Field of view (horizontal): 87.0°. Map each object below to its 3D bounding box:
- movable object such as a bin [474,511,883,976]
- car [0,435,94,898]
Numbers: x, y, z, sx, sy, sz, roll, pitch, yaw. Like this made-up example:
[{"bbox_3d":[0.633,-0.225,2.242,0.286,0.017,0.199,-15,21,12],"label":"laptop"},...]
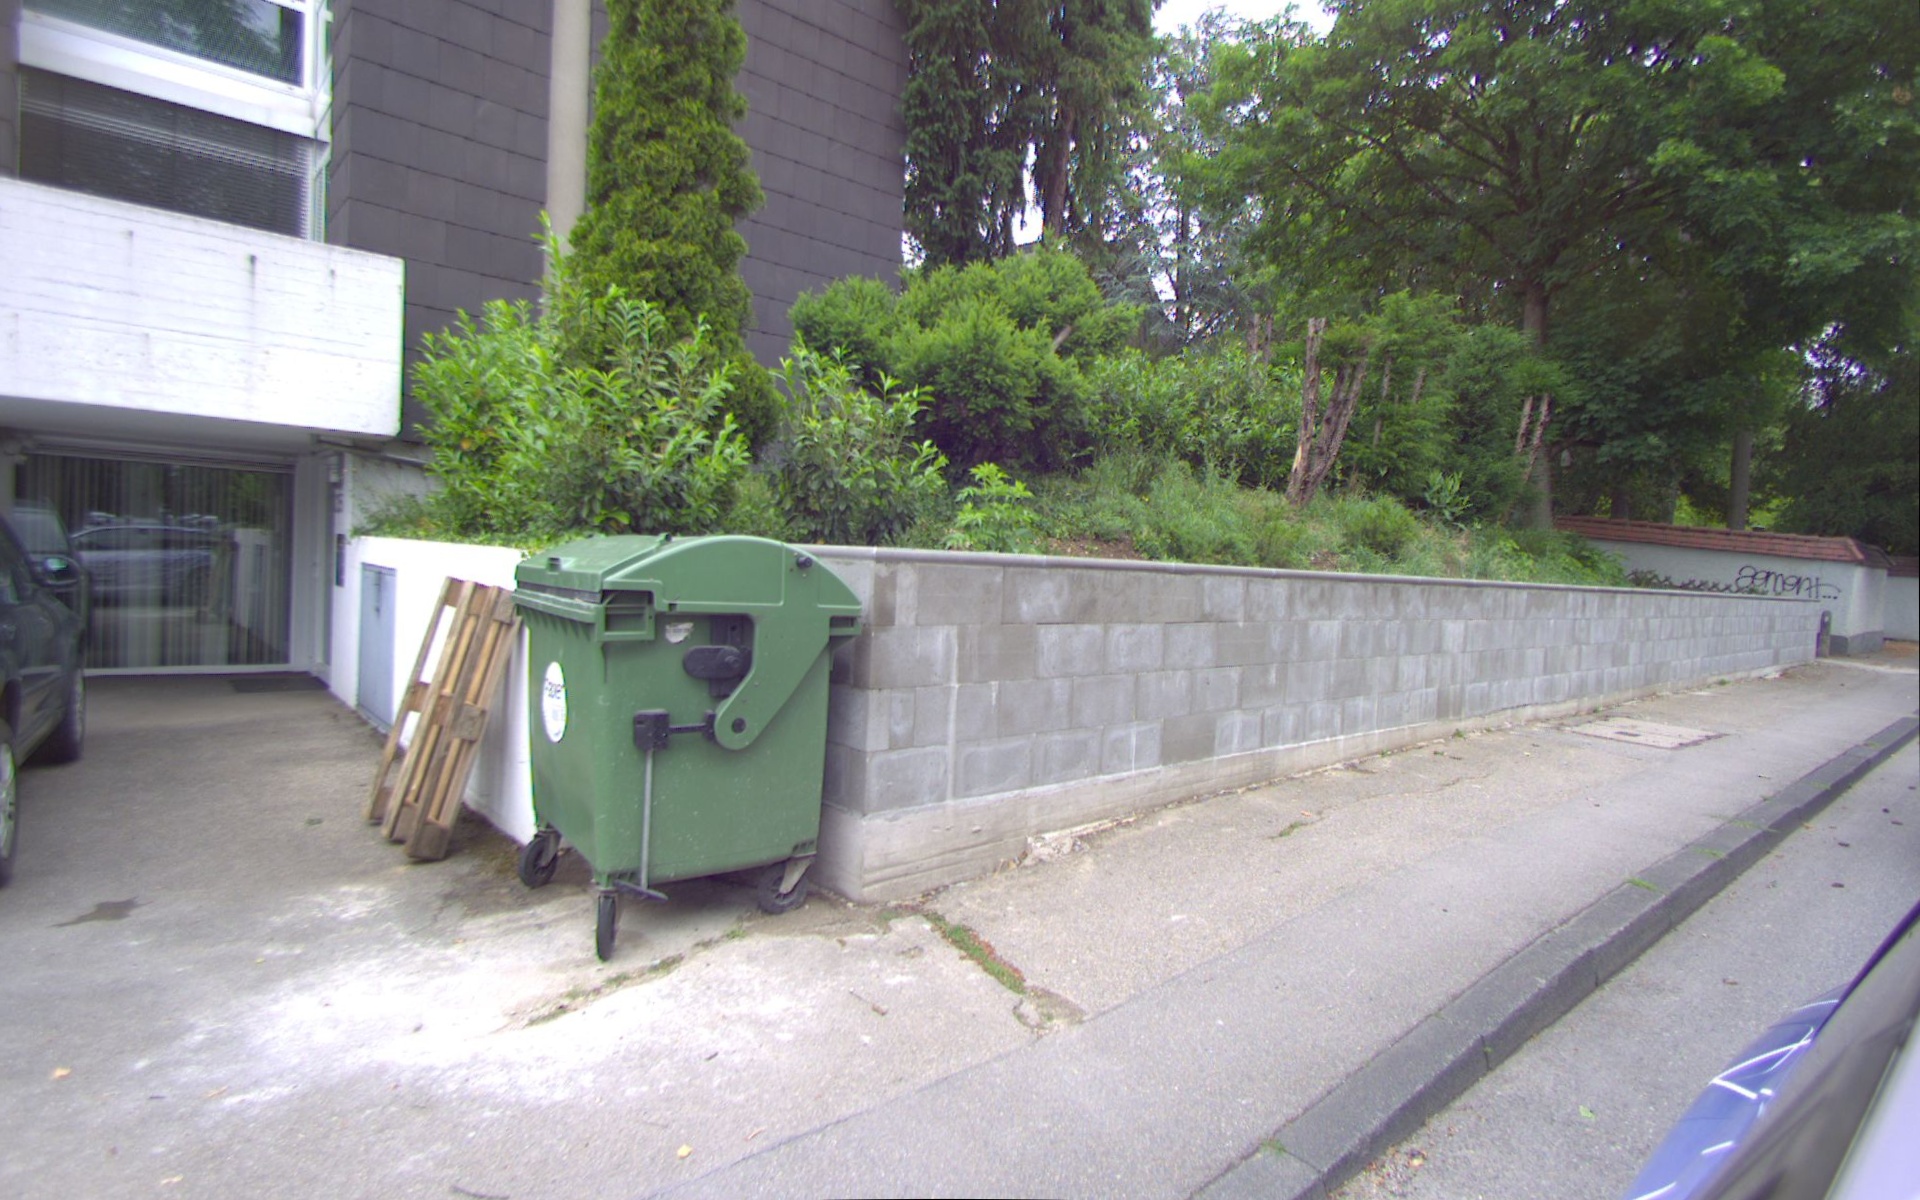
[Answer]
[{"bbox_3d":[-1.176,0.415,4.078,1.096,1.469,1.407,0,3,-40],"label":"movable object such as a bin"},{"bbox_3d":[-5.041,0.147,4.352,1.712,1.671,3.914,0,4,-36],"label":"car"}]
